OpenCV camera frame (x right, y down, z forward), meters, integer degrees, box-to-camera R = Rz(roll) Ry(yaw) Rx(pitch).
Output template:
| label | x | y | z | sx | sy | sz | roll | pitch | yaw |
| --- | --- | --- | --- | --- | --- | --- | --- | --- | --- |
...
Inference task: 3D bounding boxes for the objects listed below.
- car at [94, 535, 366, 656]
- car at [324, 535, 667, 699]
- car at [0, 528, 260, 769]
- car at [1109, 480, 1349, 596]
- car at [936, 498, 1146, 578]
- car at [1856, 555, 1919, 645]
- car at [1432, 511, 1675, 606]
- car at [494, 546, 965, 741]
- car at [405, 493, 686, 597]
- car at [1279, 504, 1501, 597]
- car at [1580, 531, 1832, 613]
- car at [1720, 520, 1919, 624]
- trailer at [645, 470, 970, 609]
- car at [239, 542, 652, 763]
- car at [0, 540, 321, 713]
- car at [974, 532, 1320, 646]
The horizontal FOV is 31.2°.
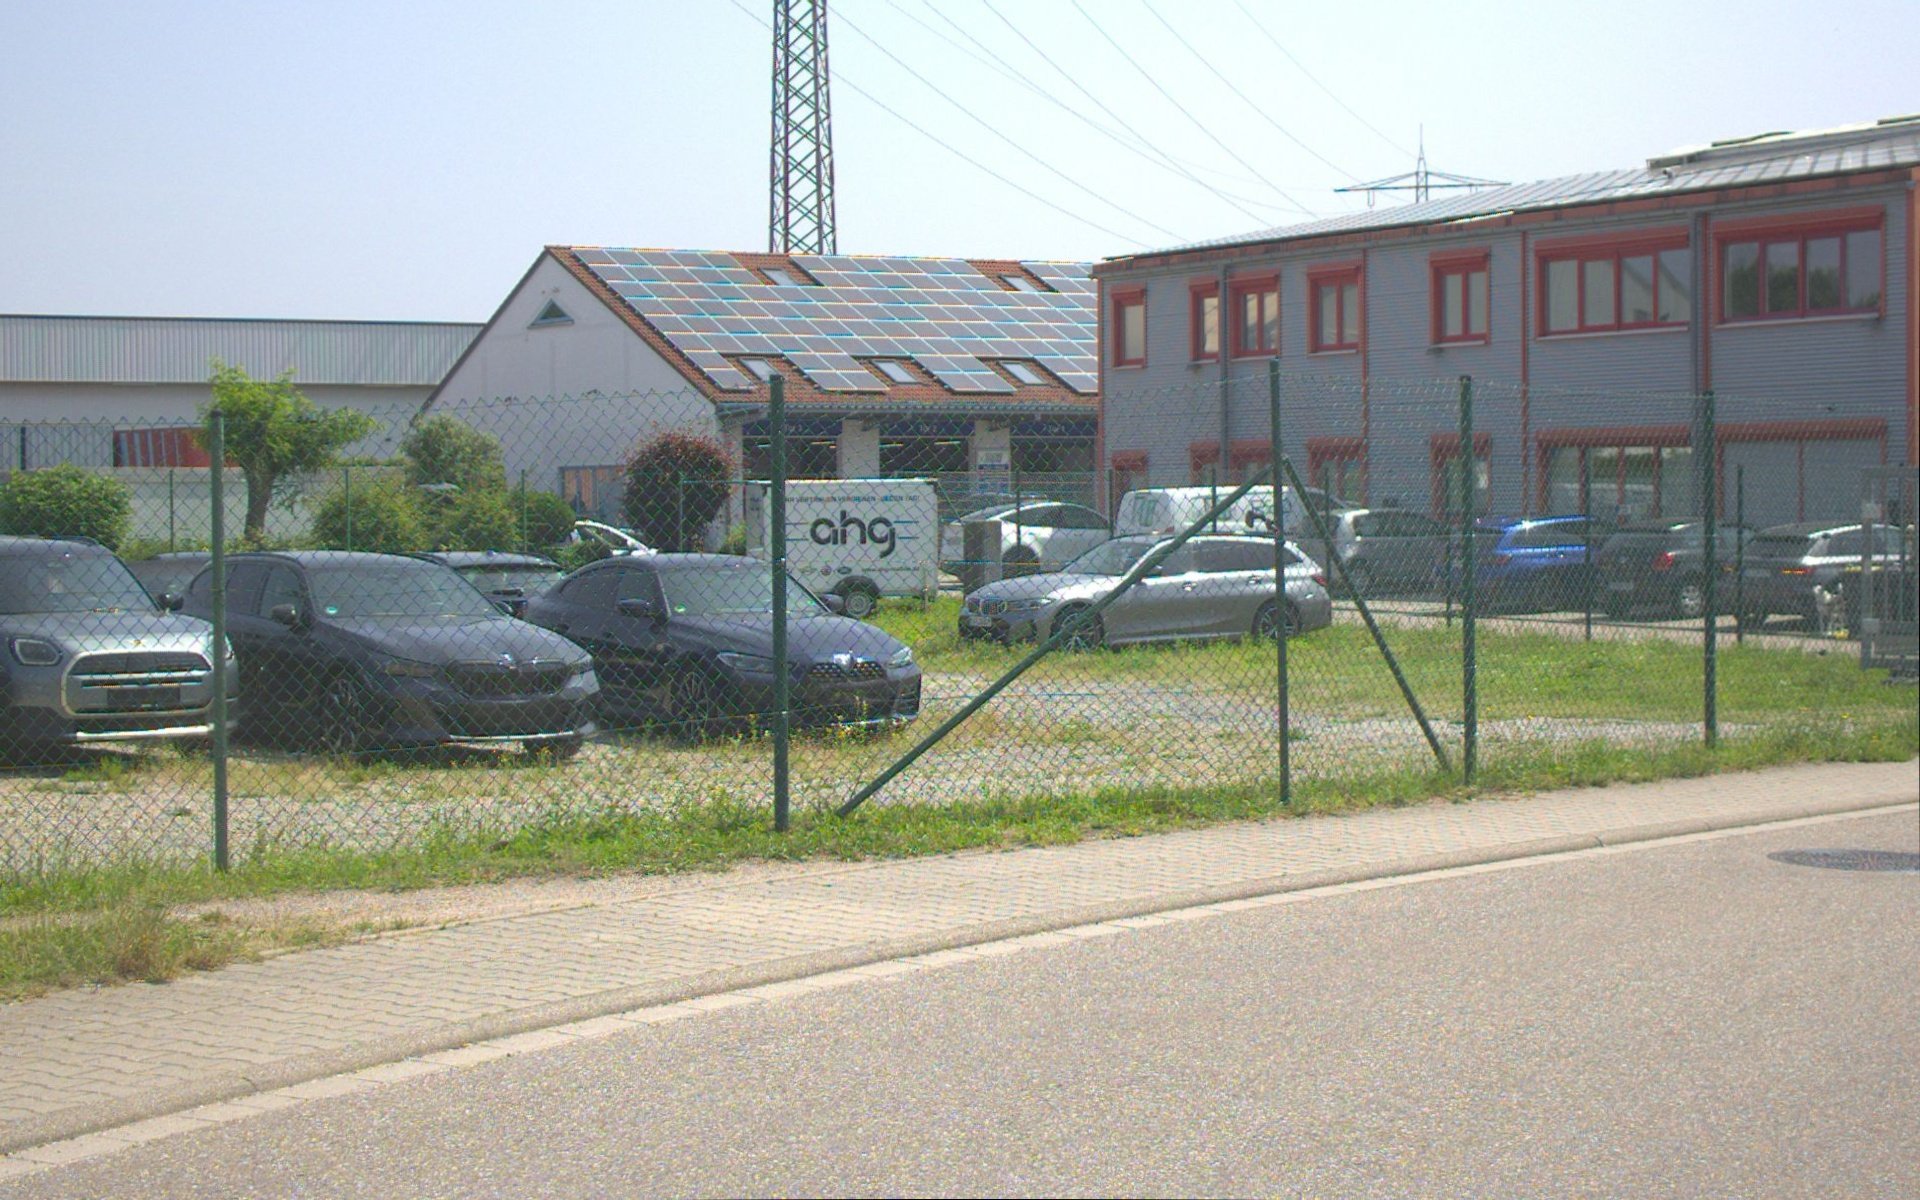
| label | x | y | z | sx | sy | sz | roll | pitch | yaw |
| --- | --- | --- | --- | --- | --- | --- | --- | --- | --- |
| car | -9.306 | -0.097 | 43.530 | 1.995 | 1.430 | 4.666 | -1 | 1 | -30 |
| car | -4.577 | 0.109 | 33.305 | 1.995 | 1.430 | 4.423 | -1 | 2 | -26 |
| car | -6.684 | 0.291 | 25.443 | 1.862 | 1.638 | 3.634 | -1 | 1 | -30 |
| car | 4.763 | -1.120 | 60.841 | 3.894 | 1.972 | 1.823 | -1 | 2 | -31 |
| car | 1.593 | -1.223 | 67.116 | 3.894 | 1.510 | 1.508 | -1 | 2 | -31 |
| car | 13.937 | -0.033 | 46.339 | 3.591 | 1.147 | 1.508 | -1 | 2 | -31 |
| car | 9.193 | -0.665 | 53.219 | 3.591 | 1.411 | 1.508 | -1 | 2 | -31 |
| car | -2.000 | 0.286 | 28.276 | 1.995 | 1.430 | 4.666 | -1 | 1 | -30 |
| car | -6.541 | -0.885 | 54.305 | 3.986 | 1.593 | 1.877 | -1 | 1 | -28 |
| car | 7.379 | -0.864 | 58.931 | 3.591 | 1.538 | 1.508 | -1 | 2 | -31 |
| car | 11.085 | -0.435 | 51.050 | 3.591 | 1.147 | 1.508 | -1 | 2 | -31 |
| car | 12.503 | -0.409 | 48.075 | 3.591 | 1.376 | 1.508 | -1 | 2 | -31 |
| trailer | -2.234 | -0.902 | 50.081 | 4.446 | 1.938 | 1.715 | -1 | 2 | -15 |
| car | -4.021 | 0.334 | 26.415 | 1.862 | 1.549 | 3.771 | -1 | 1 | -30 |
| car | -7.460 | 0.188 | 31.613 | 1.993 | 1.415 | 4.001 | -1 | 2 | -28 |
| car | 2.254 | -0.159 | 40.943 | 4.128 | 1.256 | 1.235 | -1 | 2 | -31 |
